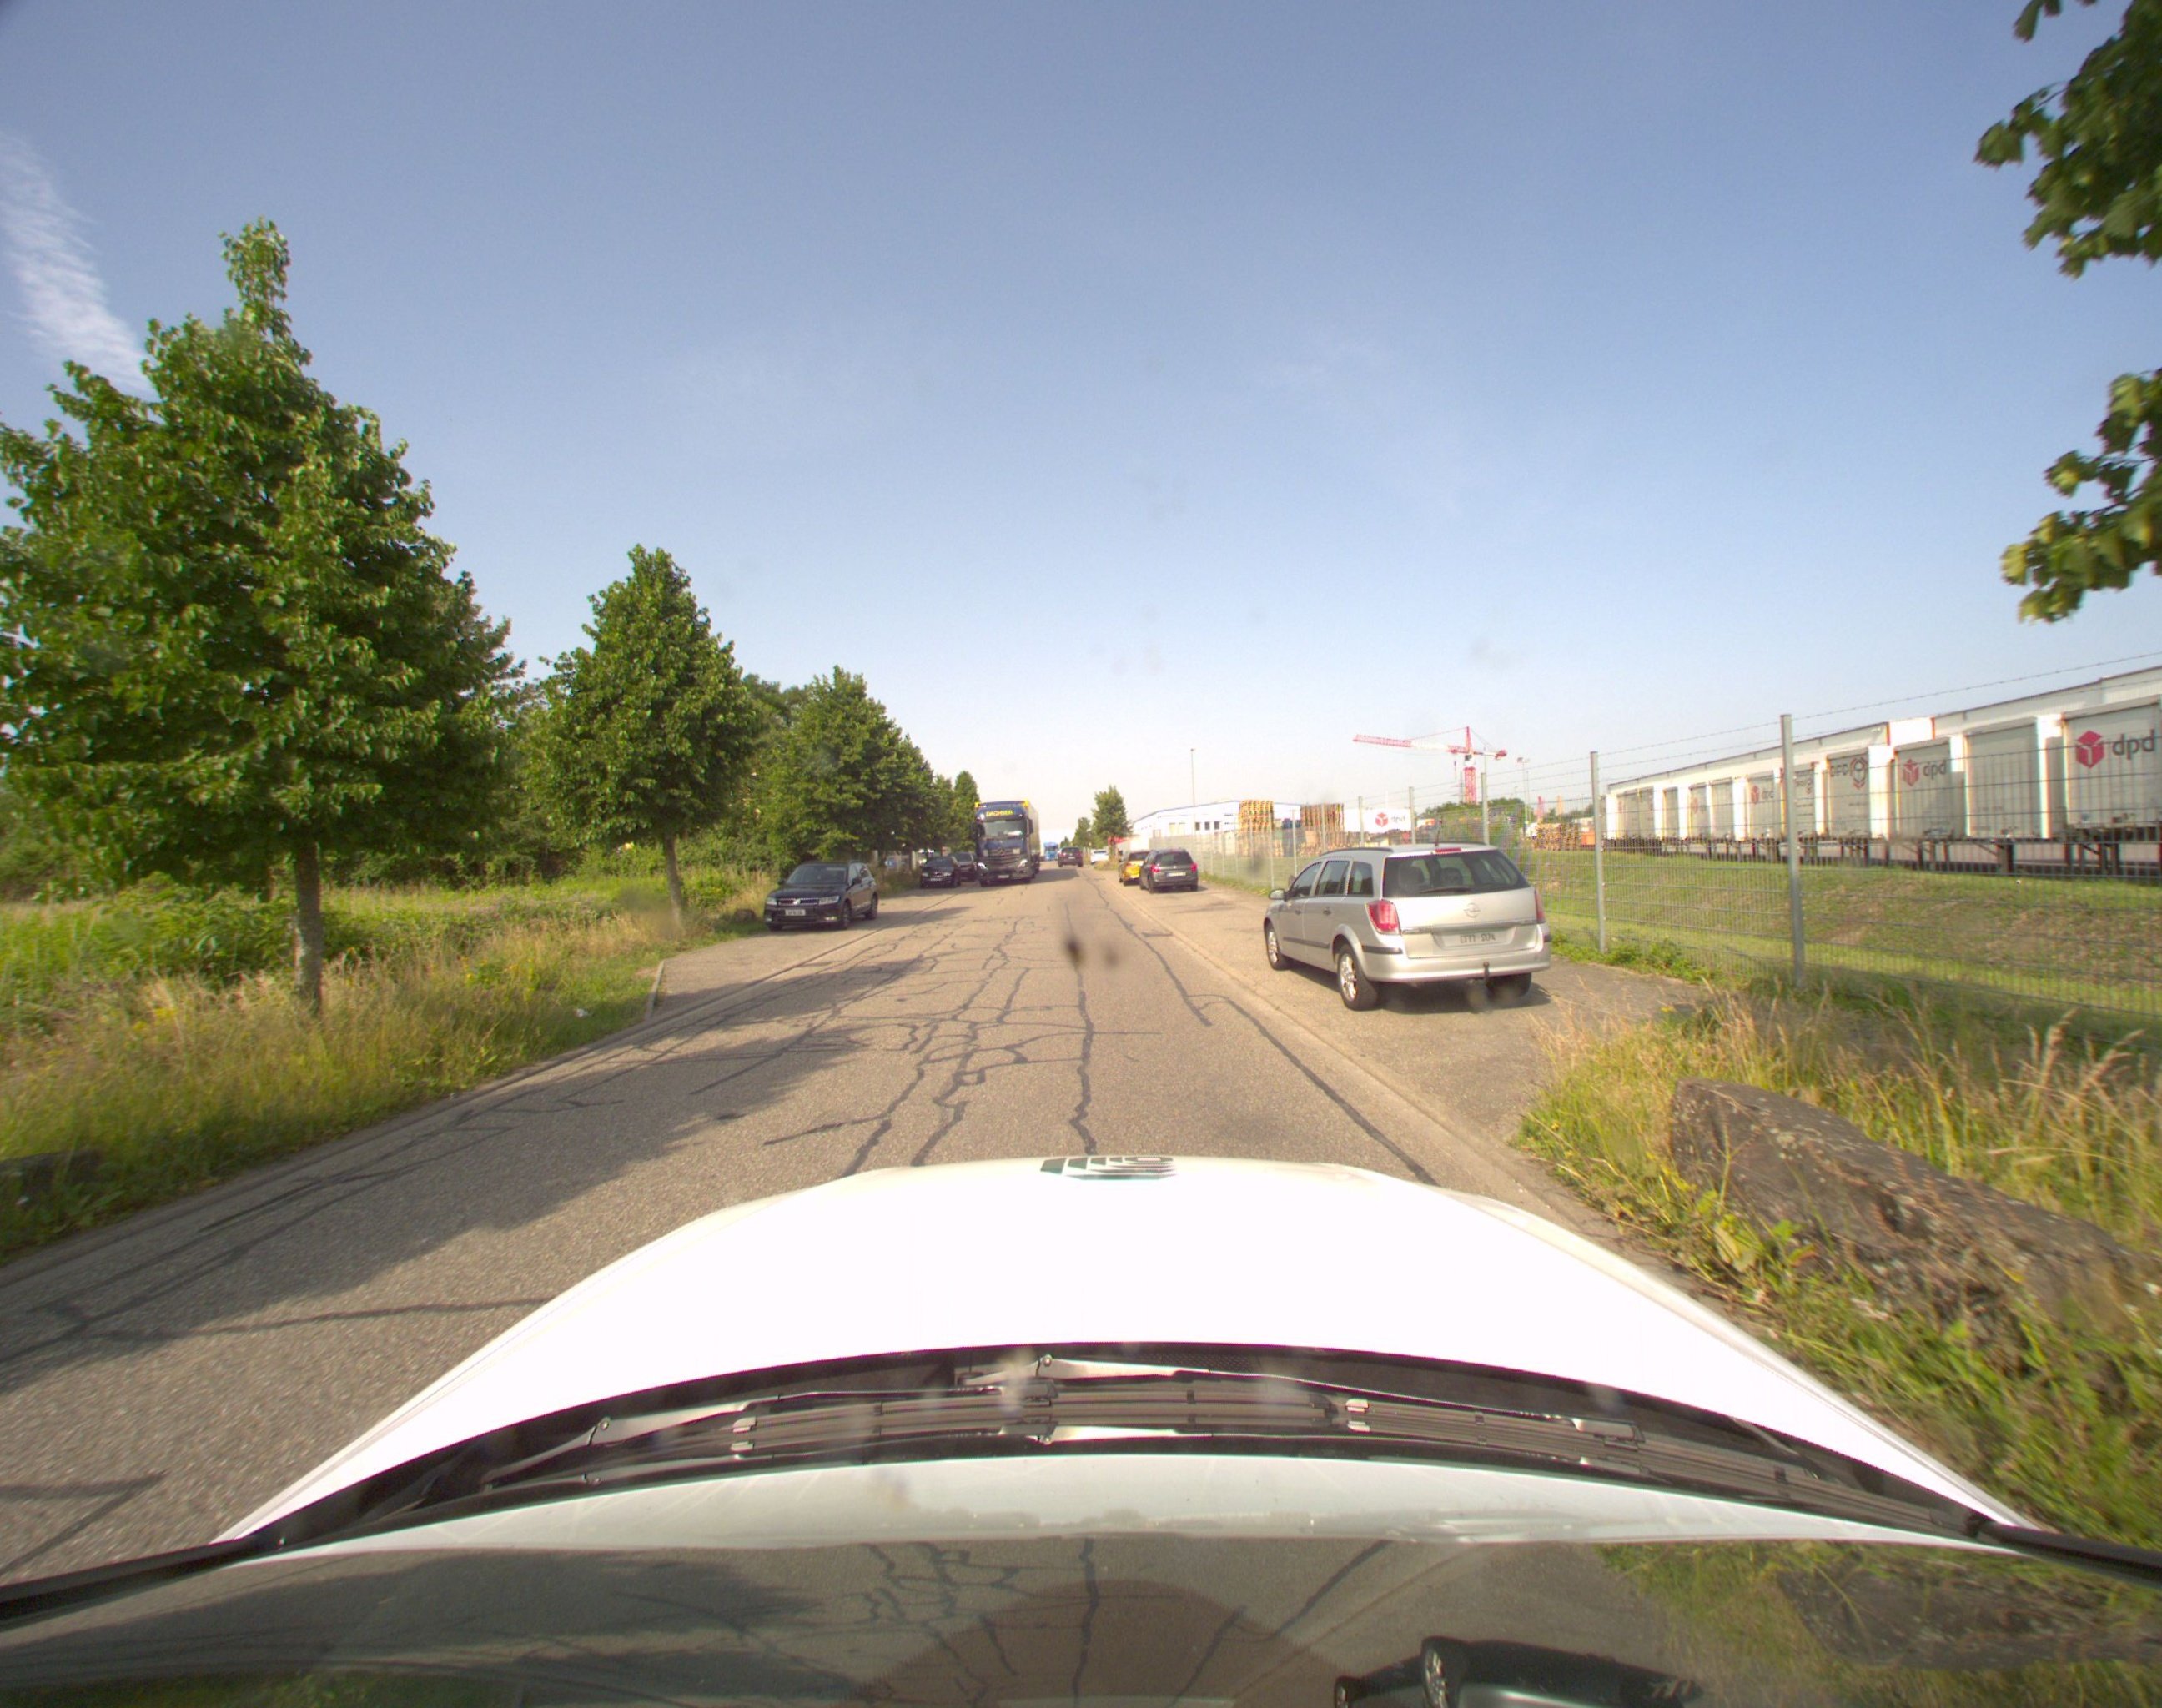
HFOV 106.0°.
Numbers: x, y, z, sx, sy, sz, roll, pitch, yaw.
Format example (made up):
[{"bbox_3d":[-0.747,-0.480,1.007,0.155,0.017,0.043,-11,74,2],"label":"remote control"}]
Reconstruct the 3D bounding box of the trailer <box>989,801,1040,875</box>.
[{"bbox_3d":[-4.071,-0.976,51.691,2.492,4.145,8.491,-4,0,-2],"label":"trailer"}]

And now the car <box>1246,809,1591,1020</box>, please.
[{"bbox_3d":[3.268,0.487,9.000,1.794,1.626,4.446,-4,0,-1],"label":"car"}]

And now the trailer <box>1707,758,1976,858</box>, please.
[{"bbox_3d":[31.786,-1.834,34.464,7.900,3.893,2.789,0,2,17],"label":"trailer"}]

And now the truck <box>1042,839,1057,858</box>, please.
[{"bbox_3d":[-6.334,-1.119,163.292,2.872,3.760,6.077,-2,0,-3],"label":"truck"}]

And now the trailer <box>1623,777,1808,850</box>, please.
[{"bbox_3d":[35.900,-2.217,46.444,7.900,3.893,2.789,0,2,17],"label":"trailer"}]

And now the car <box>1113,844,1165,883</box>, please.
[{"bbox_3d":[2.411,0.385,34.891,1.710,1.455,4.184,-4,0,-2],"label":"car"}]

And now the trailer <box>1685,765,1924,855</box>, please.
[{"bbox_3d":[33.321,-1.967,37.924,7.900,3.893,2.789,0,2,17],"label":"trailer"}]

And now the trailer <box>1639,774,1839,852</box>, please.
[{"bbox_3d":[35.054,-2.124,43.752,7.900,3.893,2.789,0,2,17],"label":"trailer"}]

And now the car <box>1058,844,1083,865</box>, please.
[{"bbox_3d":[-0.817,0.021,66.571,1.874,1.586,4.114,-2,0,1],"label":"car"}]

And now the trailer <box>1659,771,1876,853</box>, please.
[{"bbox_3d":[34.252,-2.035,41.044,7.900,3.893,2.789,0,2,17],"label":"trailer"}]

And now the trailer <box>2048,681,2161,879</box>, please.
[{"bbox_3d":[25.660,-1.512,16.093,8.242,3.893,2.789,0,2,17],"label":"trailer"}]

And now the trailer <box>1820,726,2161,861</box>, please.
[{"bbox_3d":[28.886,-1.785,25.614,7.900,3.893,2.789,0,2,17],"label":"trailer"}]

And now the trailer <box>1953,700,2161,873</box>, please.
[{"bbox_3d":[26.618,-1.559,19.019,8.242,3.893,2.789,0,2,17],"label":"trailer"}]

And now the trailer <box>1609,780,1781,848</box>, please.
[{"bbox_3d":[37.030,-2.360,49.501,7.900,3.893,2.755,0,2,17],"label":"trailer"}]

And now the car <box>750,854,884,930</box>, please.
[{"bbox_3d":[-6.436,0.846,20.433,1.897,1.626,4.448,-1,0,0],"label":"car"}]

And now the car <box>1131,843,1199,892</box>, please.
[{"bbox_3d":[2.938,0.441,29.282,1.711,1.515,3.999,-4,0,-3],"label":"car"}]

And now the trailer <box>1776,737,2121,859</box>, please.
[{"bbox_3d":[29.823,-1.821,28.499,7.900,3.893,2.789,0,2,17],"label":"trailer"}]

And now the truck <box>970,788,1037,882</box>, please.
[{"bbox_3d":[-3.819,-0.907,42.252,2.492,4.145,10.372,-4,0,-2],"label":"truck"}]

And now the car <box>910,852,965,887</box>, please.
[{"bbox_3d":[-6.673,0.680,38.287,1.827,1.496,4.048,-1,0,0],"label":"car"}]

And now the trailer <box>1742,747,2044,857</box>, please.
[{"bbox_3d":[30.965,-1.884,31.525,7.900,3.893,2.789,0,2,17],"label":"trailer"}]

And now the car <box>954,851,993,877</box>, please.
[{"bbox_3d":[-6.420,0.567,49.017,1.827,1.496,4.048,-1,0,0],"label":"car"}]

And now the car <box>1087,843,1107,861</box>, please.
[{"bbox_3d":[1.607,-0.218,80.680,1.710,1.680,3.946,-2,0,-2],"label":"car"}]

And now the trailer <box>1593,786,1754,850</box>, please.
[{"bbox_3d":[37.864,-2.269,52.374,7.900,3.893,2.755,0,2,17],"label":"trailer"}]

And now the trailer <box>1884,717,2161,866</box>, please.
[{"bbox_3d":[28.230,-1.666,22.682,7.970,3.893,2.789,0,2,17],"label":"trailer"}]

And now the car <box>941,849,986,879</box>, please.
[{"bbox_3d":[-6.319,0.518,44.265,1.827,1.496,4.048,-1,0,0],"label":"car"}]

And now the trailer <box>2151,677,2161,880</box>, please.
[{"bbox_3d":[24.450,-1.418,13.251,8.469,3.893,2.789,0,2,17],"label":"trailer"}]
